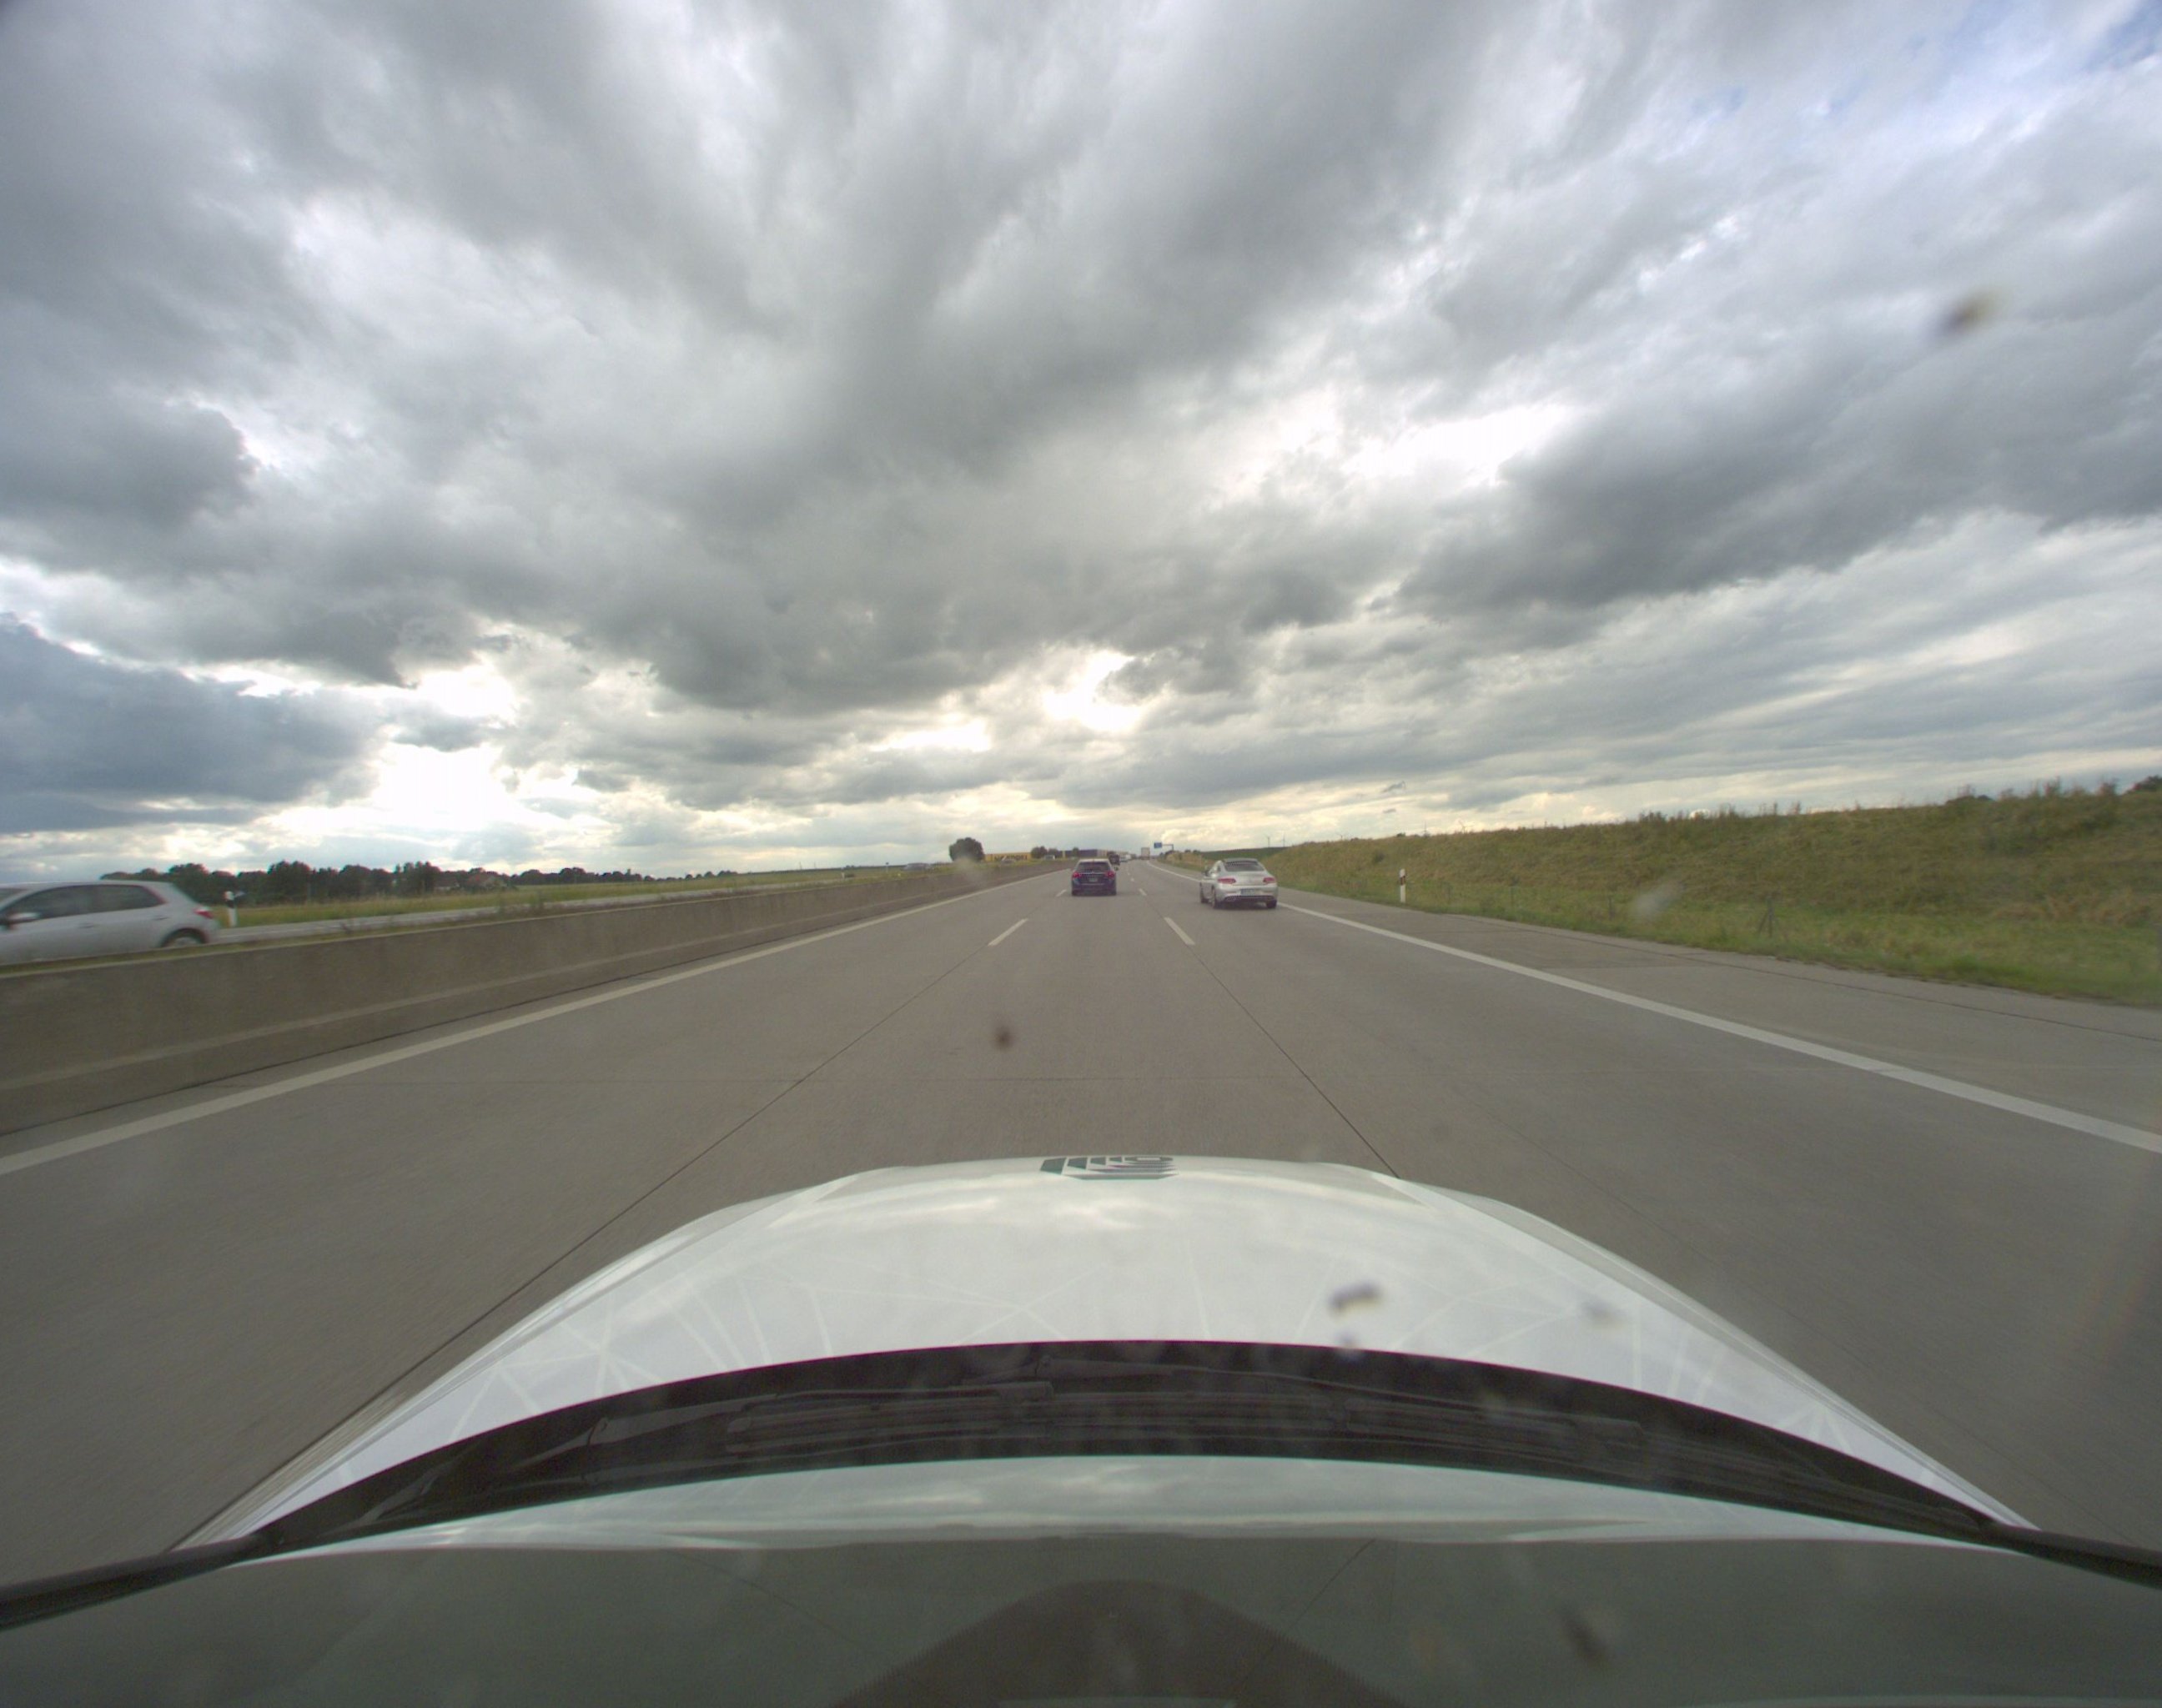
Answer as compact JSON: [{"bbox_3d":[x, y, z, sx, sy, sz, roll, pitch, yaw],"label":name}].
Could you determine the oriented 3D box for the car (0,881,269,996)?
[{"bbox_3d":[-15.463,1.195,12.284,1.771,1.507,4.518,-1,-1,2],"label":"car"}]

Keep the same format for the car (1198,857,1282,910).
[{"bbox_3d":[4.613,0.817,24.163,1.782,1.403,4.223,-1,-1,2],"label":"car"}]

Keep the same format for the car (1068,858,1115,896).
[{"bbox_3d":[0.420,0.910,33.134,1.769,1.413,3.999,-1,-1,0],"label":"car"}]

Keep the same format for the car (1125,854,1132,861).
[{"bbox_3d":[13.823,1.080,238.291,1.986,2.014,4.002,-1,-1,2],"label":"car"}]

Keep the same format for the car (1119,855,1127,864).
[{"bbox_3d":[9.754,1.276,188.497,1.985,2.014,4.003,0,0,3],"label":"car"}]

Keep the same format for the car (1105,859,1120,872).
[{"bbox_3d":[5.092,1.838,131.910,1.989,2.014,3.996,0,-1,-3],"label":"car"}]

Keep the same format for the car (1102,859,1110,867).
[{"bbox_3d":[6.284,2.179,203.432,2.038,2.014,4.002,-1,-1,2],"label":"car"}]
